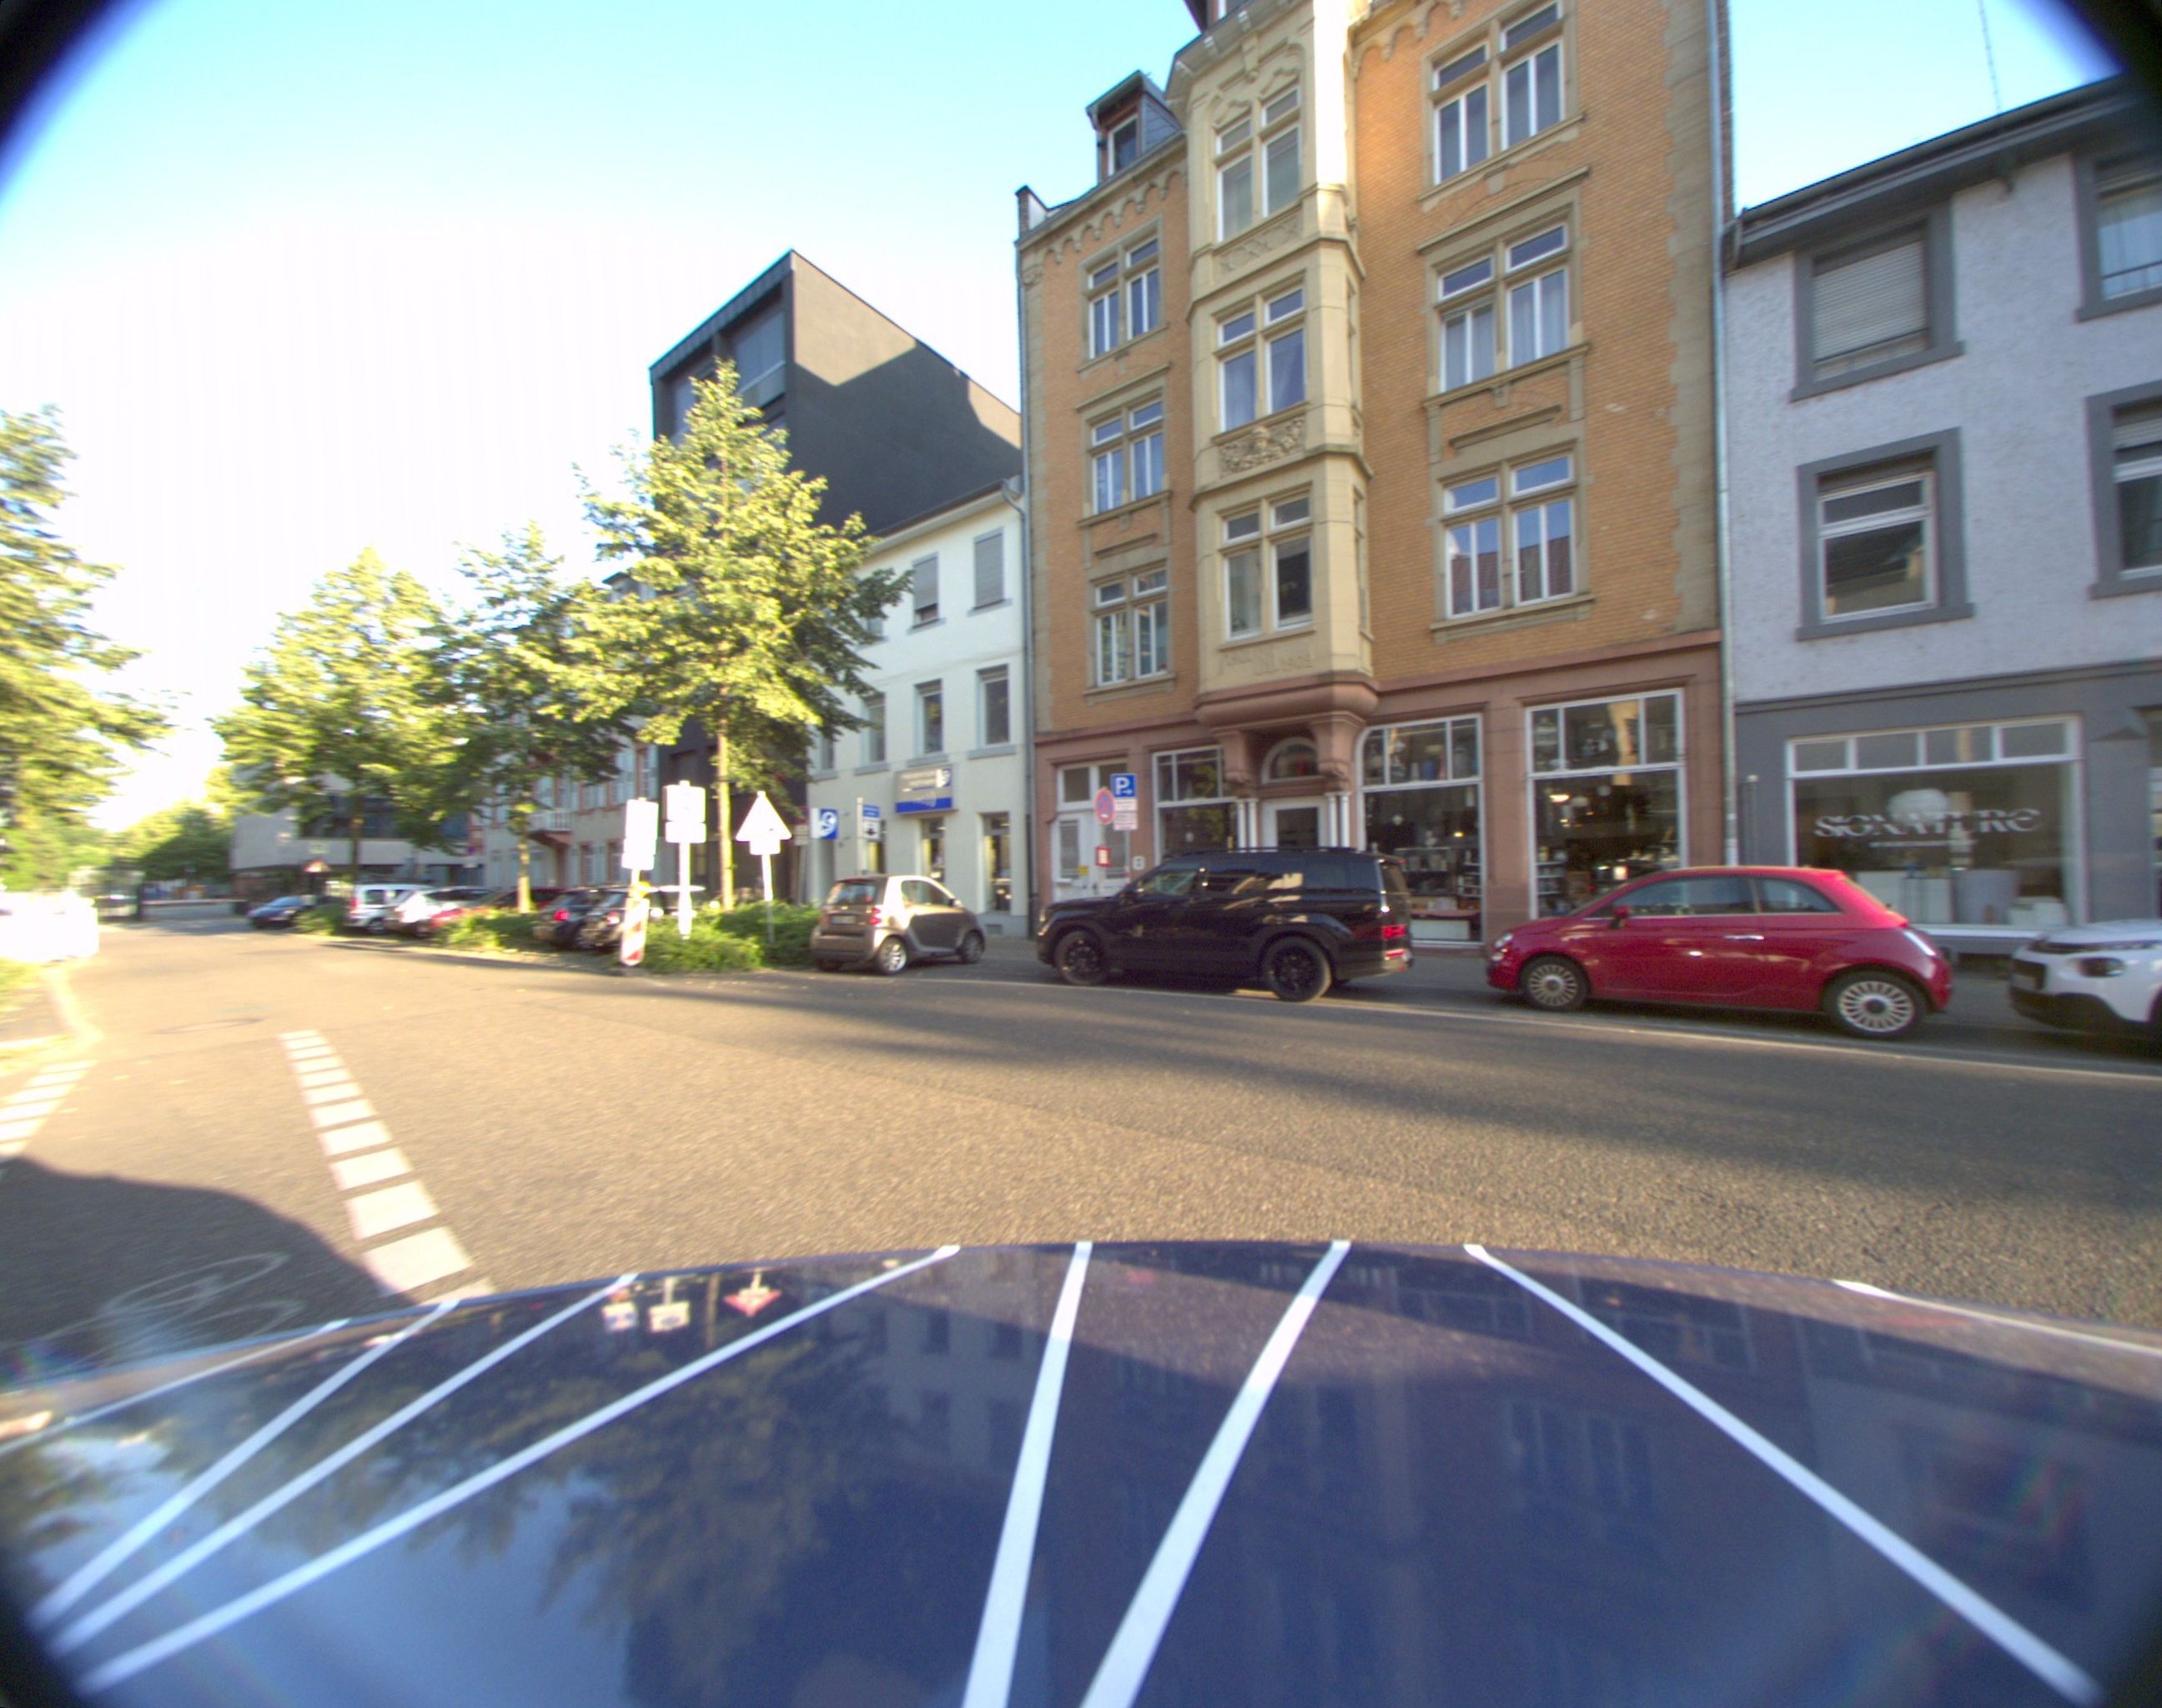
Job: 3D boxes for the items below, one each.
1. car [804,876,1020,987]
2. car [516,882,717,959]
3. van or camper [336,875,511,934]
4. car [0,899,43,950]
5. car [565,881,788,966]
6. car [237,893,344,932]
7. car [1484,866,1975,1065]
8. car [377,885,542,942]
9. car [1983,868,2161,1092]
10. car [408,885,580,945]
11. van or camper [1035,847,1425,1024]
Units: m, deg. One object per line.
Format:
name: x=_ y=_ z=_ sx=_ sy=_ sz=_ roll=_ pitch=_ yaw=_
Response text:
car: x=-2.730 y=1.192 z=12.915 sx=1.503 sy=1.566 sz=3.489 roll=-2 pitch=-1 yaw=33
car: x=-11.113 y=1.513 z=18.410 sx=1.853 sy=1.659 sz=3.706 roll=-2 pitch=-3 yaw=34
van or camper: x=-23.911 y=1.797 z=27.813 sx=1.853 sy=1.993 sz=4.465 roll=-2 pitch=-3 yaw=34
car: x=-38.294 y=2.436 z=25.510 sx=1.886 sy=1.673 sz=4.009 roll=-2 pitch=-2 yaw=38
car: x=-8.947 y=1.458 z=17.113 sx=1.853 sy=1.659 sz=4.018 roll=-2 pitch=-3 yaw=34
car: x=-35.085 y=2.556 z=33.864 sx=1.860 sy=1.558 sz=3.692 roll=1 pitch=-3 yaw=-21
car: x=6.097 y=0.939 z=7.608 sx=3.412 sy=1.560 sz=1.534 roll=-2 pitch=-2 yaw=37
car: x=-19.953 y=1.848 z=24.525 sx=1.853 sy=1.659 sz=3.706 roll=-2 pitch=-3 yaw=34
car: x=9.334 y=0.863 z=5.085 sx=3.924 sy=1.563 sz=1.671 roll=-2 pitch=-3 yaw=36
car: x=-17.751 y=1.767 z=23.119 sx=1.853 sy=1.659 sz=3.706 roll=-2 pitch=-3 yaw=34
van or camper: x=1.807 y=0.903 z=9.646 sx=4.449 sy=1.796 sz=1.900 roll=-2 pitch=-2 yaw=30
